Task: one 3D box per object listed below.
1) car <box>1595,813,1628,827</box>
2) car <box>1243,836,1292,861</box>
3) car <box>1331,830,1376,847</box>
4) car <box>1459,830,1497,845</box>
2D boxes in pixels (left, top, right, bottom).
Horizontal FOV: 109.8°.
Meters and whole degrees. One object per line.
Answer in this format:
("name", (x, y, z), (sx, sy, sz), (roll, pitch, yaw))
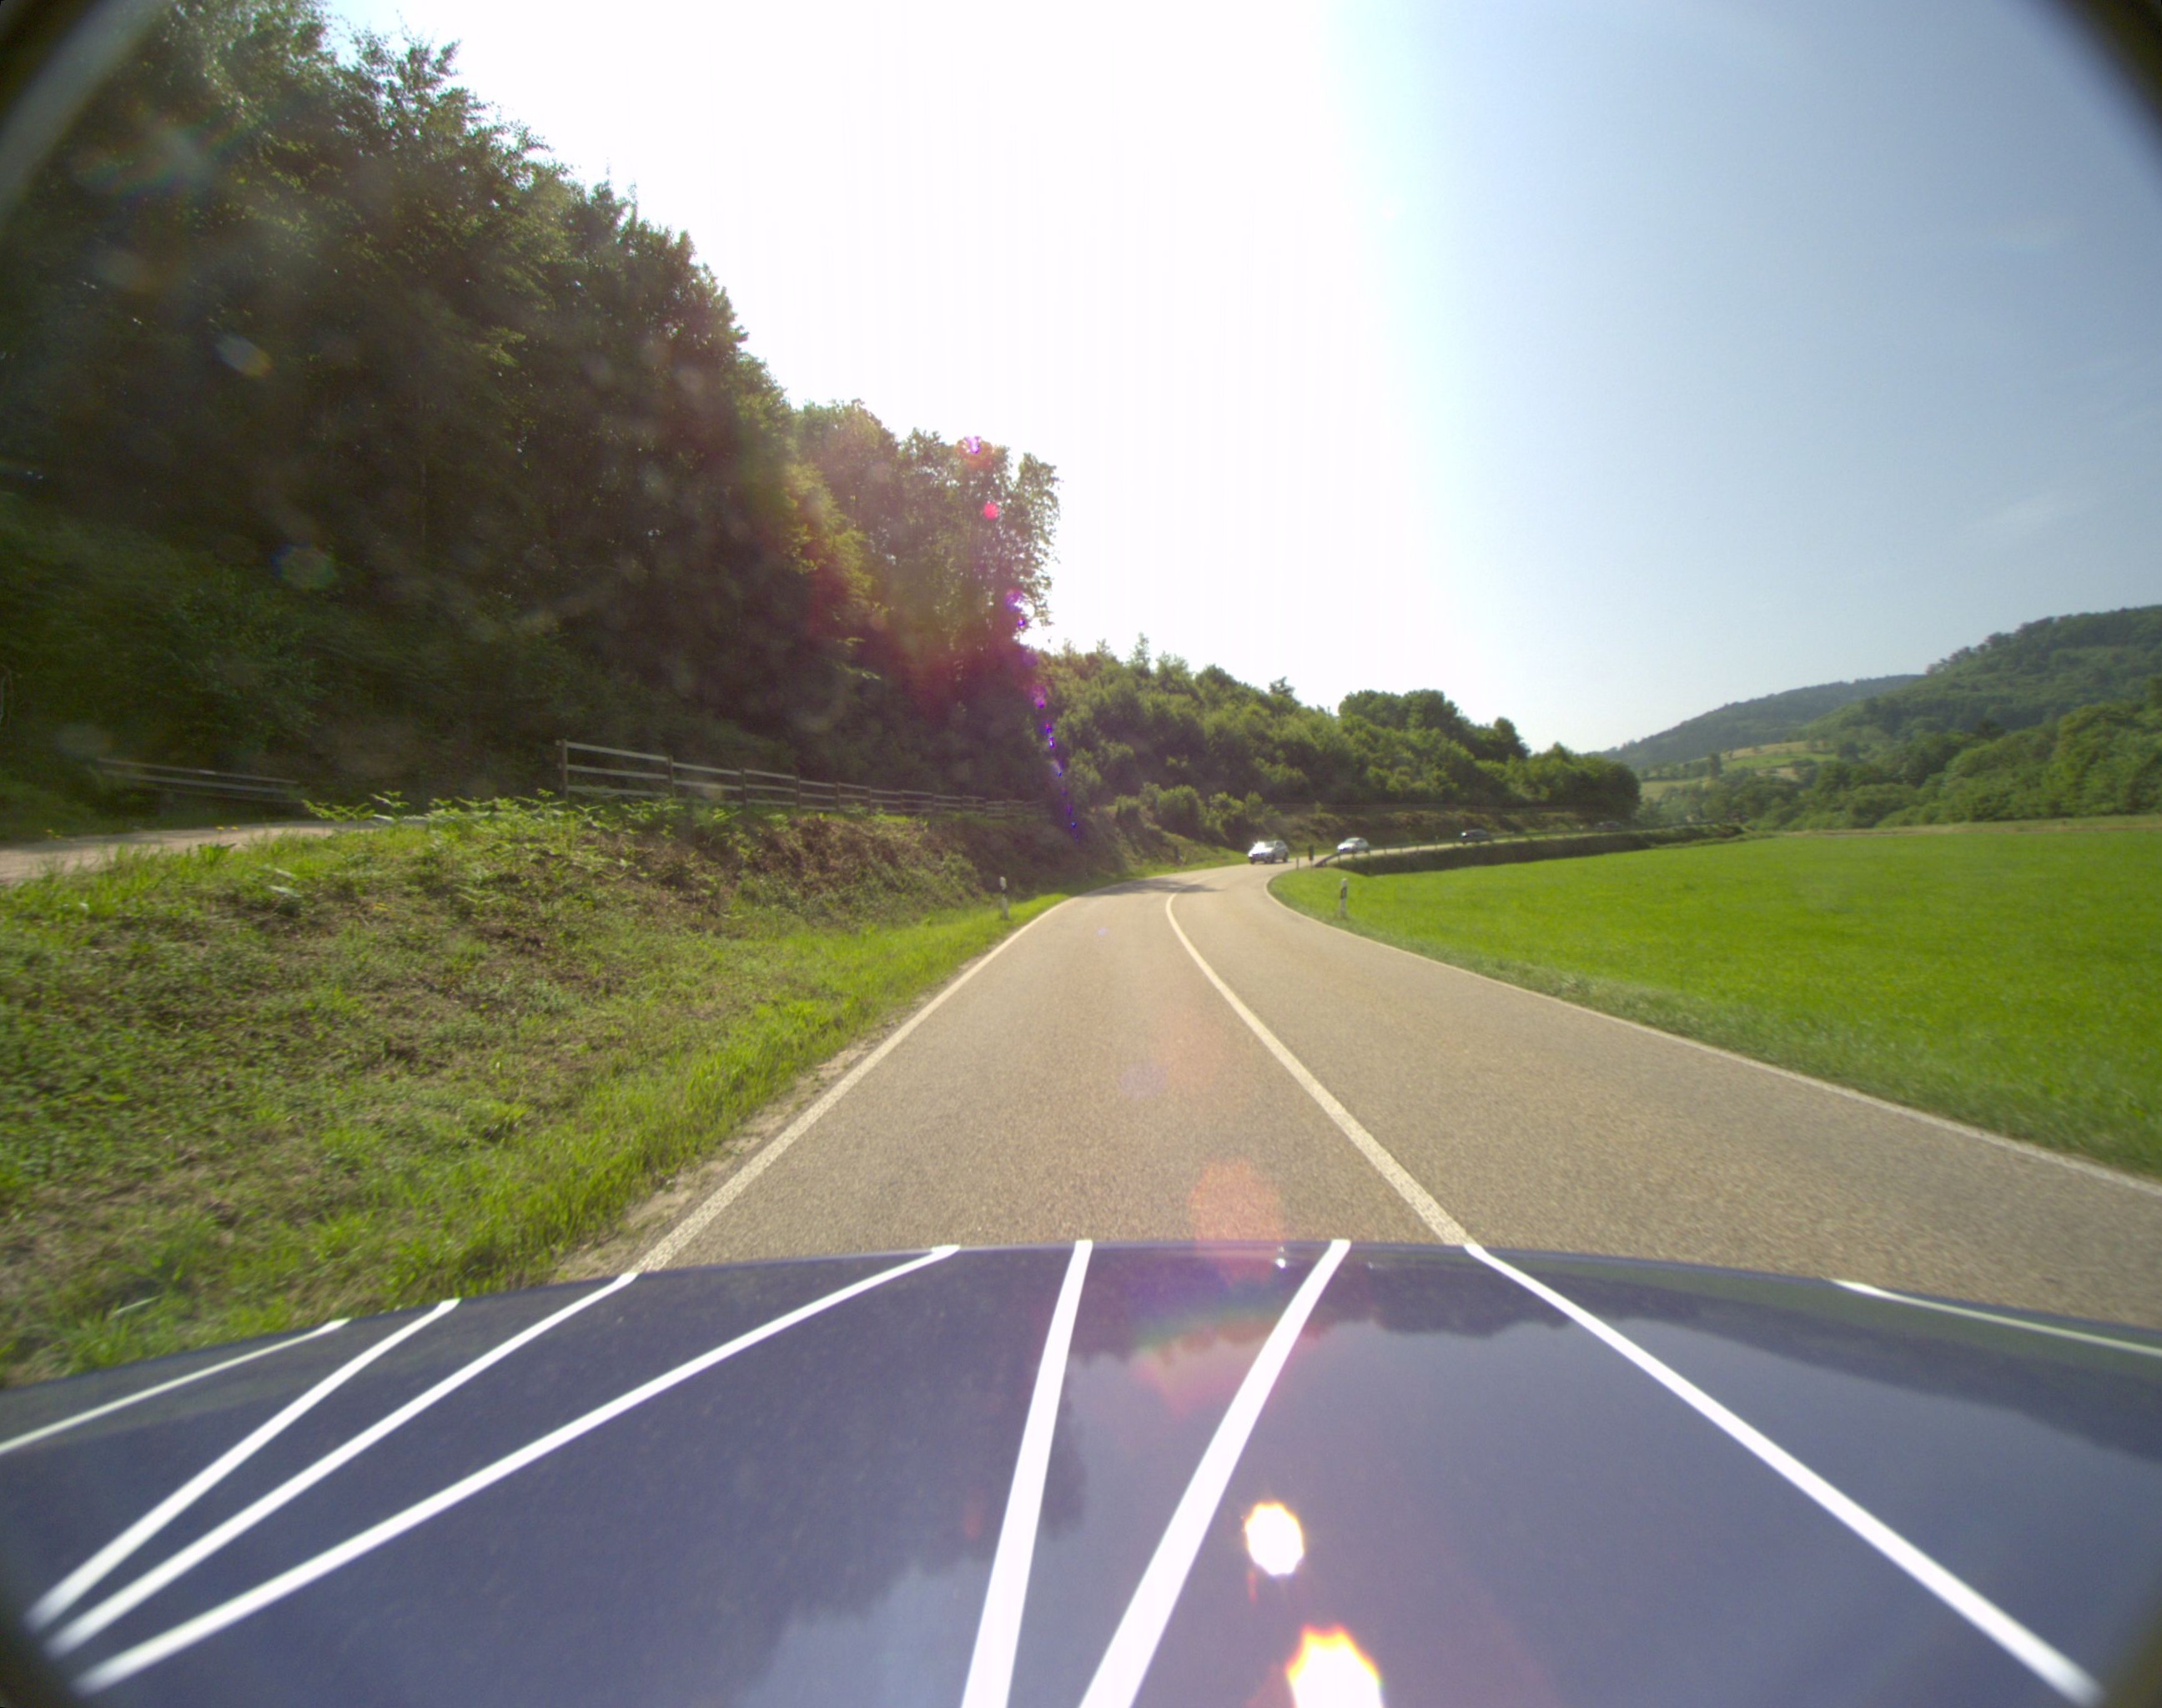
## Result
("car", (71.368, -4.532, 102.131), (4.904, 1.730, 1.951), (-2, 1, -34))
("car", (14.996, -0.470, 61.039), (2.114, 1.803, 4.464), (-3, -1, 37))
("car", (26.674, -1.529, 74.307), (4.681, 1.482, 2.142), (-2, 0, -41))
("car", (44.750, -1.862, 85.586), (4.603, 1.577, 1.877), (-2, -1, -37))
